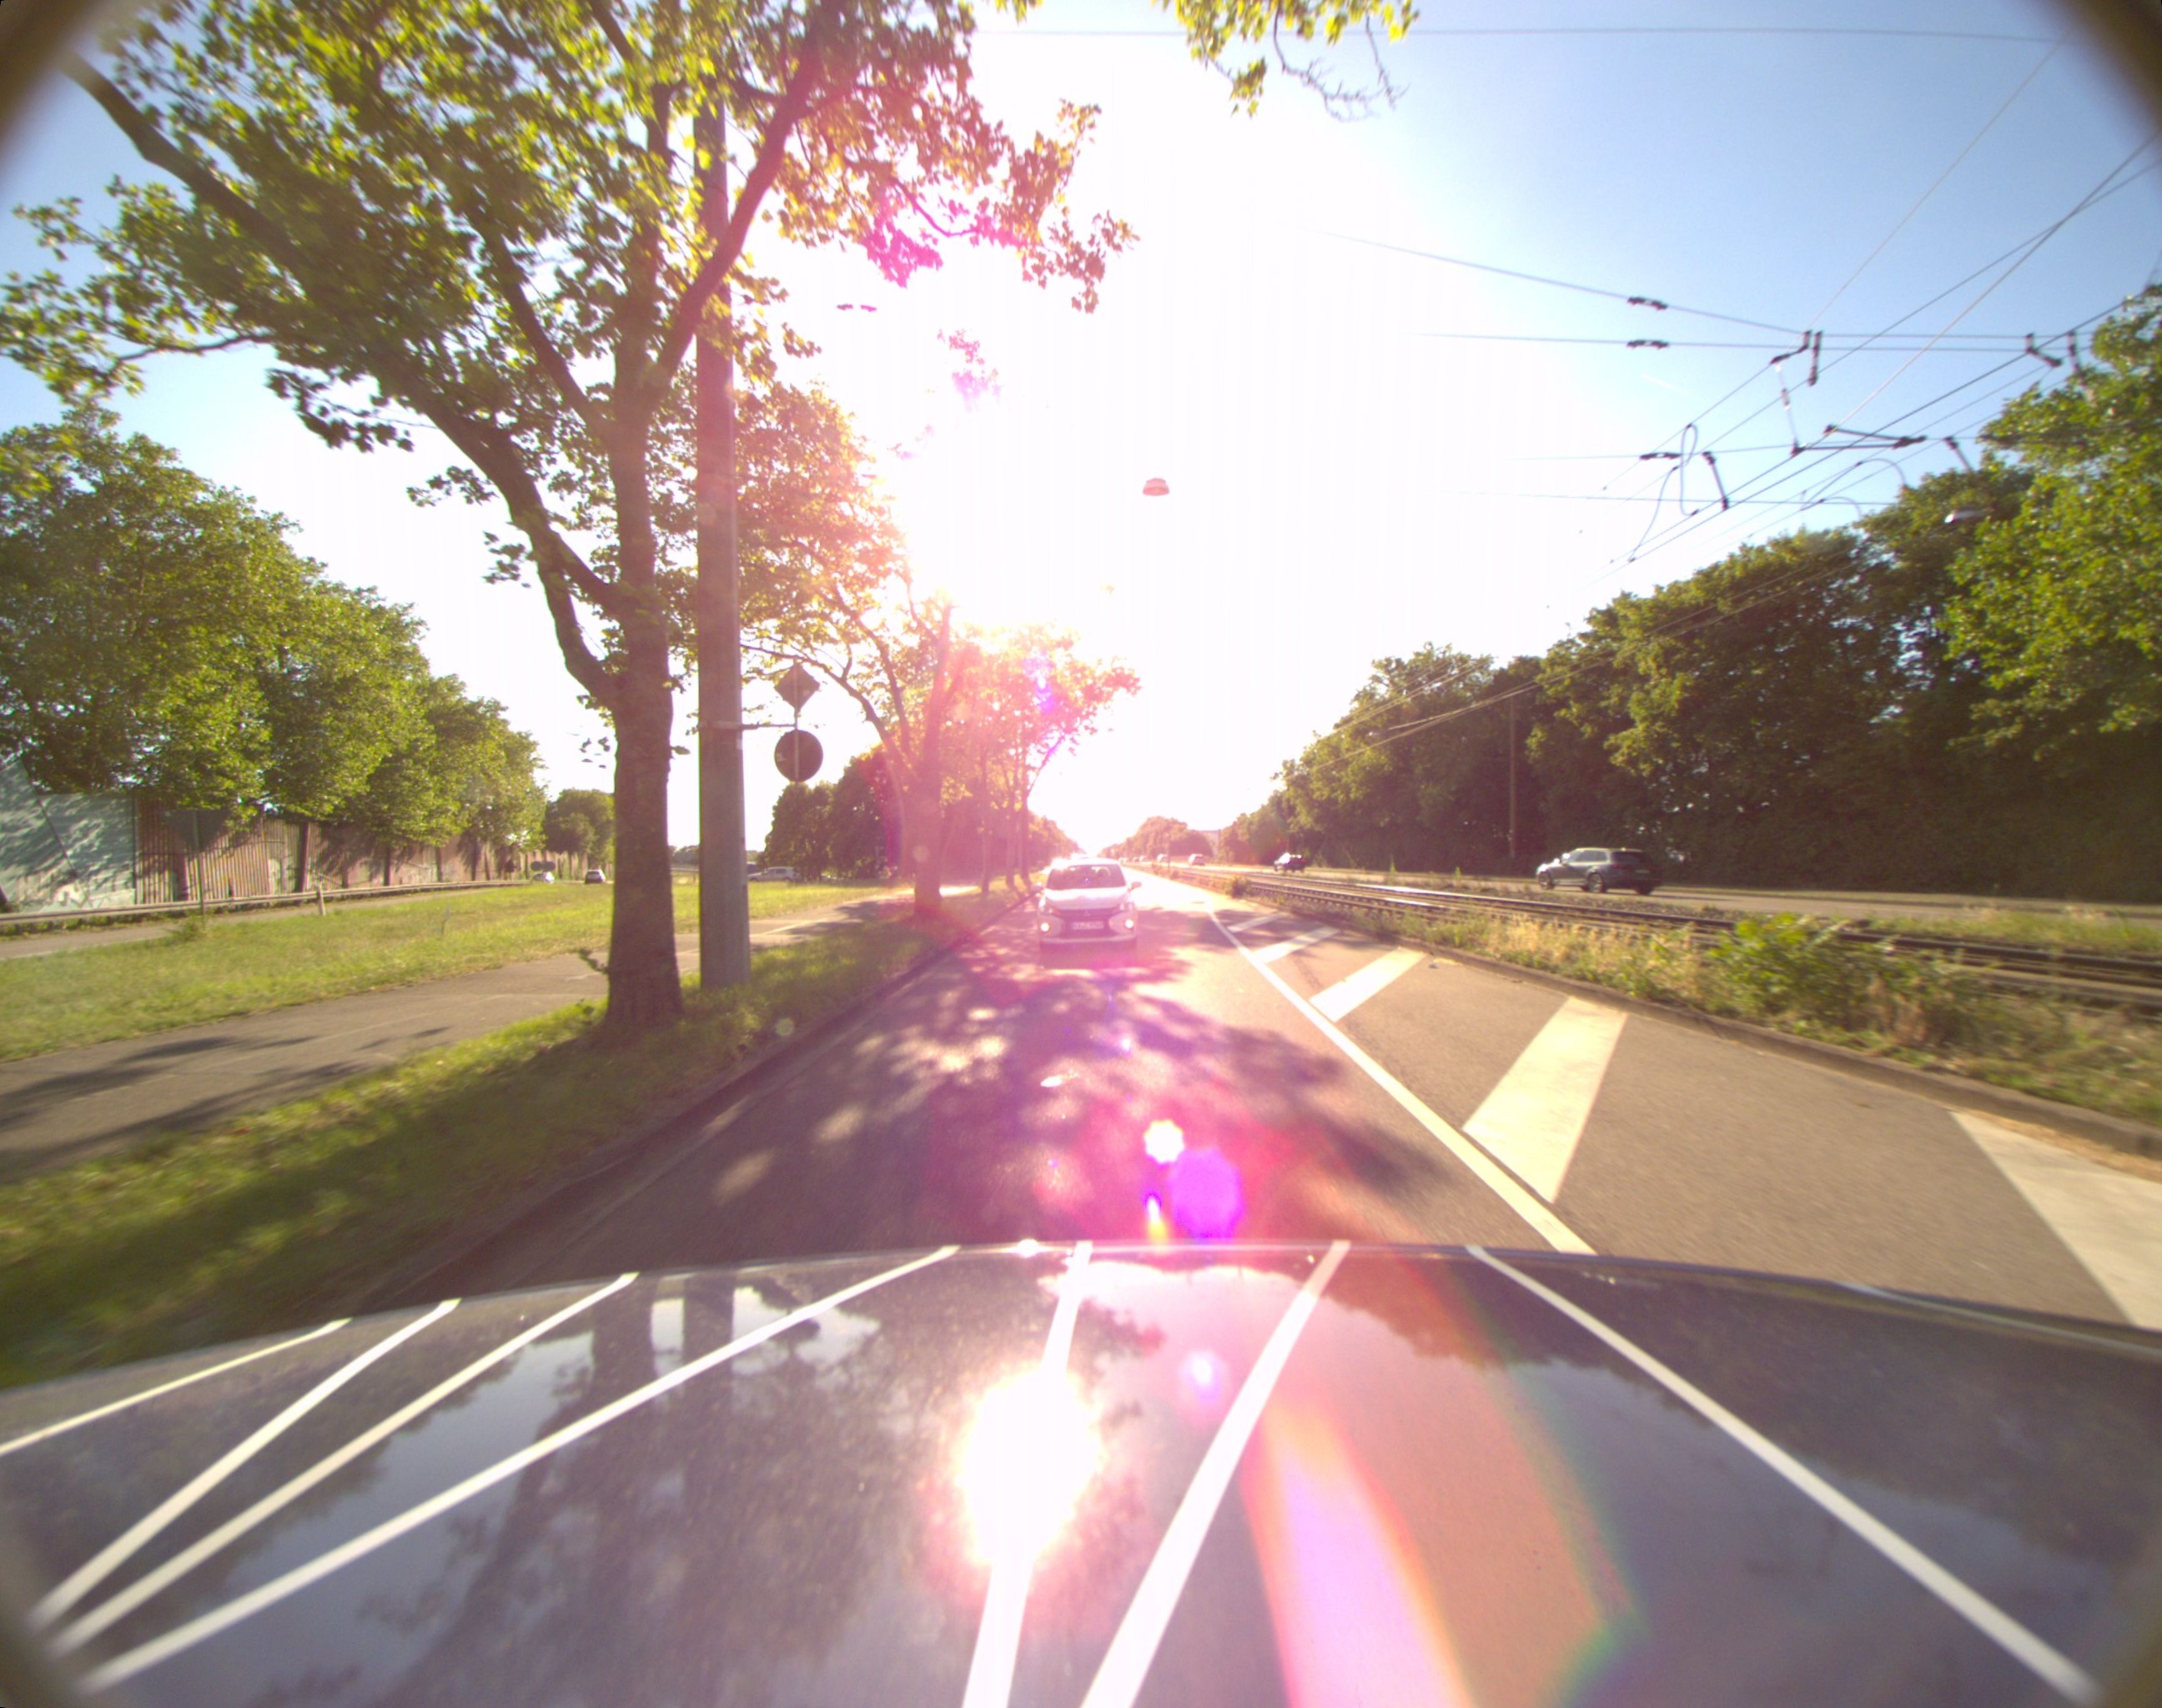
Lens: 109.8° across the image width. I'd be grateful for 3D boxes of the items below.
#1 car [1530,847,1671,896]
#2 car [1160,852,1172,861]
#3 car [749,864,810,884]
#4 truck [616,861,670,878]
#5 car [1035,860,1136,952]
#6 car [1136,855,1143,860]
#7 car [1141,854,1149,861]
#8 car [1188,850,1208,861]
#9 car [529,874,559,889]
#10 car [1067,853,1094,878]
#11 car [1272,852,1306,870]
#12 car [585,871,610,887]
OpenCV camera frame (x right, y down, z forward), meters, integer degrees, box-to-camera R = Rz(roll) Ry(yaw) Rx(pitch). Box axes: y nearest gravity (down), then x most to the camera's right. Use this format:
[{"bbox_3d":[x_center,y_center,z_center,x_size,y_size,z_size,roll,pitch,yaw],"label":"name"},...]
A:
[{"bbox_3d":[19.704,0.617,29.140,1.903,1.684,4.940,1,0,-2],"label":"car"},{"bbox_3d":[17.805,0.521,159.691,1.851,1.724,4.930,1,0,-2],"label":"car"},{"bbox_3d":[-23.599,1.559,59.570,4.134,1.409,1.693,-2,1,-7],"label":"car"},{"bbox_3d":[-101.516,3.572,176.361,10.627,3.474,2.646,3,-1,-28],"label":"truck"},{"bbox_3d":[0.107,0.928,15.163,1.709,1.503,3.862,-2,0,1],"label":"car"},{"bbox_3d":[17.047,0.980,221.753,1.661,1.424,4.501,1,0,1],"label":"car"},{"bbox_3d":[16.877,0.937,201.612,1.696,1.547,4.190,1,0,0],"label":"car"},{"bbox_3d":[17.649,0.213,114.814,1.968,1.697,4.943,1,0,-2],"label":"car"},{"bbox_3d":[-56.691,2.880,80.276,1.801,1.432,4.215,-2,0,-25],"label":"car"},{"bbox_3d":[0.009,0.750,51.224,1.709,1.512,3.844,-2,0,1],"label":"car"},{"bbox_3d":[18.529,0.590,67.820,1.715,1.459,4.347,2,0,-2],"label":"car"},{"bbox_3d":[-56.698,2.897,89.187,1.817,1.762,3.855,-2,1,-23],"label":"car"}]
